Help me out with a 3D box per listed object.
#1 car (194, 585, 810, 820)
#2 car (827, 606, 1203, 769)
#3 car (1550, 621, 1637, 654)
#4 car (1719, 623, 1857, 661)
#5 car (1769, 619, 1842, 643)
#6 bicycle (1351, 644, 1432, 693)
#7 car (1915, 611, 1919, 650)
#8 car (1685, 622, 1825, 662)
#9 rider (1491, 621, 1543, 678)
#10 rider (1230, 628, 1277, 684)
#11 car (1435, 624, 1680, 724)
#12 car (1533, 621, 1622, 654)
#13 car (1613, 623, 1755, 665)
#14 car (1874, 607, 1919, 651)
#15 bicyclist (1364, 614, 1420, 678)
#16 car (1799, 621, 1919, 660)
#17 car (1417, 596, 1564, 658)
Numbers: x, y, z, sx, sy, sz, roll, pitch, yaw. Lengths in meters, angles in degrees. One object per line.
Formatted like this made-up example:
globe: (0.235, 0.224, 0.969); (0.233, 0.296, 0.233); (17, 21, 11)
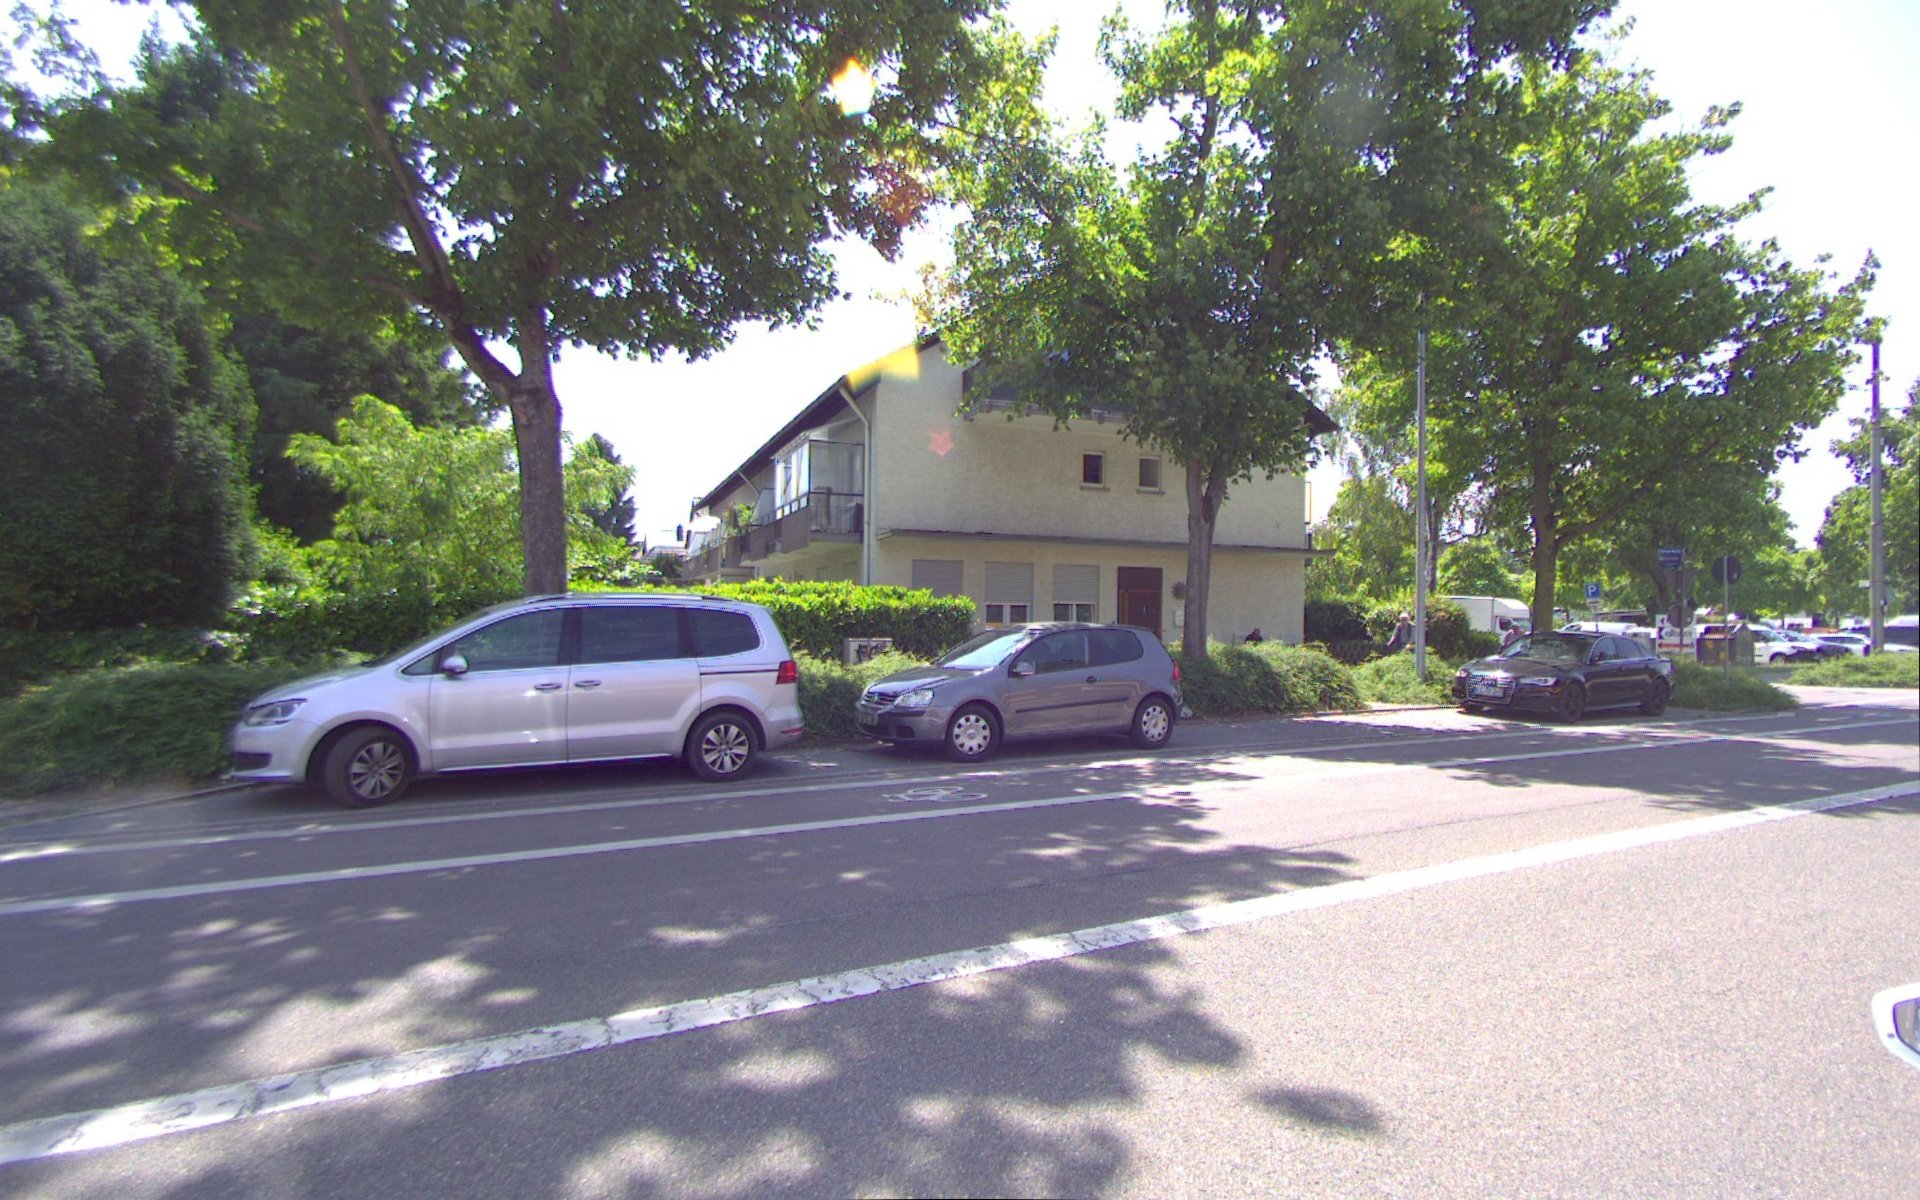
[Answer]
car: (-3.940, 0.764, 9.250); (4.725, 1.687, 1.863); (1, 0, -31)
car: (0.705, 0.915, 11.898); (4.132, 1.585, 1.809); (1, 1, -31)
car: (37.439, 2.209, 59.445); (1.799, 1.675, 3.957); (2, 1, -37)
car: (36.358, 1.812, 44.236); (1.886, 1.606, 4.333); (1, -1, -23)
car: (66.341, 2.386, 78.882); (1.795, 1.638, 4.000); (2, 1, -30)
bicycle: (9.958, 1.575, 23.159); (1.805, 1.043, 0.698); (2, 1, -27)
car: (58.870, 1.912, 57.861); (2.349, 2.274, 5.076); (2, 1, -28)
car: (33.825, 1.763, 42.892); (1.886, 1.606, 4.332); (1, -1, -24)
rider: (13.899, 1.218, 25.070); (0.817, 1.378, 0.806); (1, -1, -27)
rider: (7.383, 1.396, 25.275); (0.800, 1.392, 0.824); (1, -1, -22)
car: (10.577, 1.222, 17.715); (4.397, 1.496, 1.809); (1, 1, -31)
car: (35.558, 2.140, 57.930); (1.799, 1.675, 3.957); (2, 1, -37)
car: (29.382, 1.742, 40.908); (1.891, 1.606, 4.321); (1, -1, -31)
car: (52.270, 1.632, 53.272); (2.349, 2.274, 5.076); (2, 1, -28)
bicyclist: (9.947, 1.052, 23.118); (0.817, 1.392, 0.806); (2, 1, -27)
car: (43.178, 1.896, 48.300); (1.975, 1.769, 3.968); (1, -1, -30)
car: (28.770, 1.381, 54.807); (2.337, 3.005, 6.816); (2, 1, -30)
